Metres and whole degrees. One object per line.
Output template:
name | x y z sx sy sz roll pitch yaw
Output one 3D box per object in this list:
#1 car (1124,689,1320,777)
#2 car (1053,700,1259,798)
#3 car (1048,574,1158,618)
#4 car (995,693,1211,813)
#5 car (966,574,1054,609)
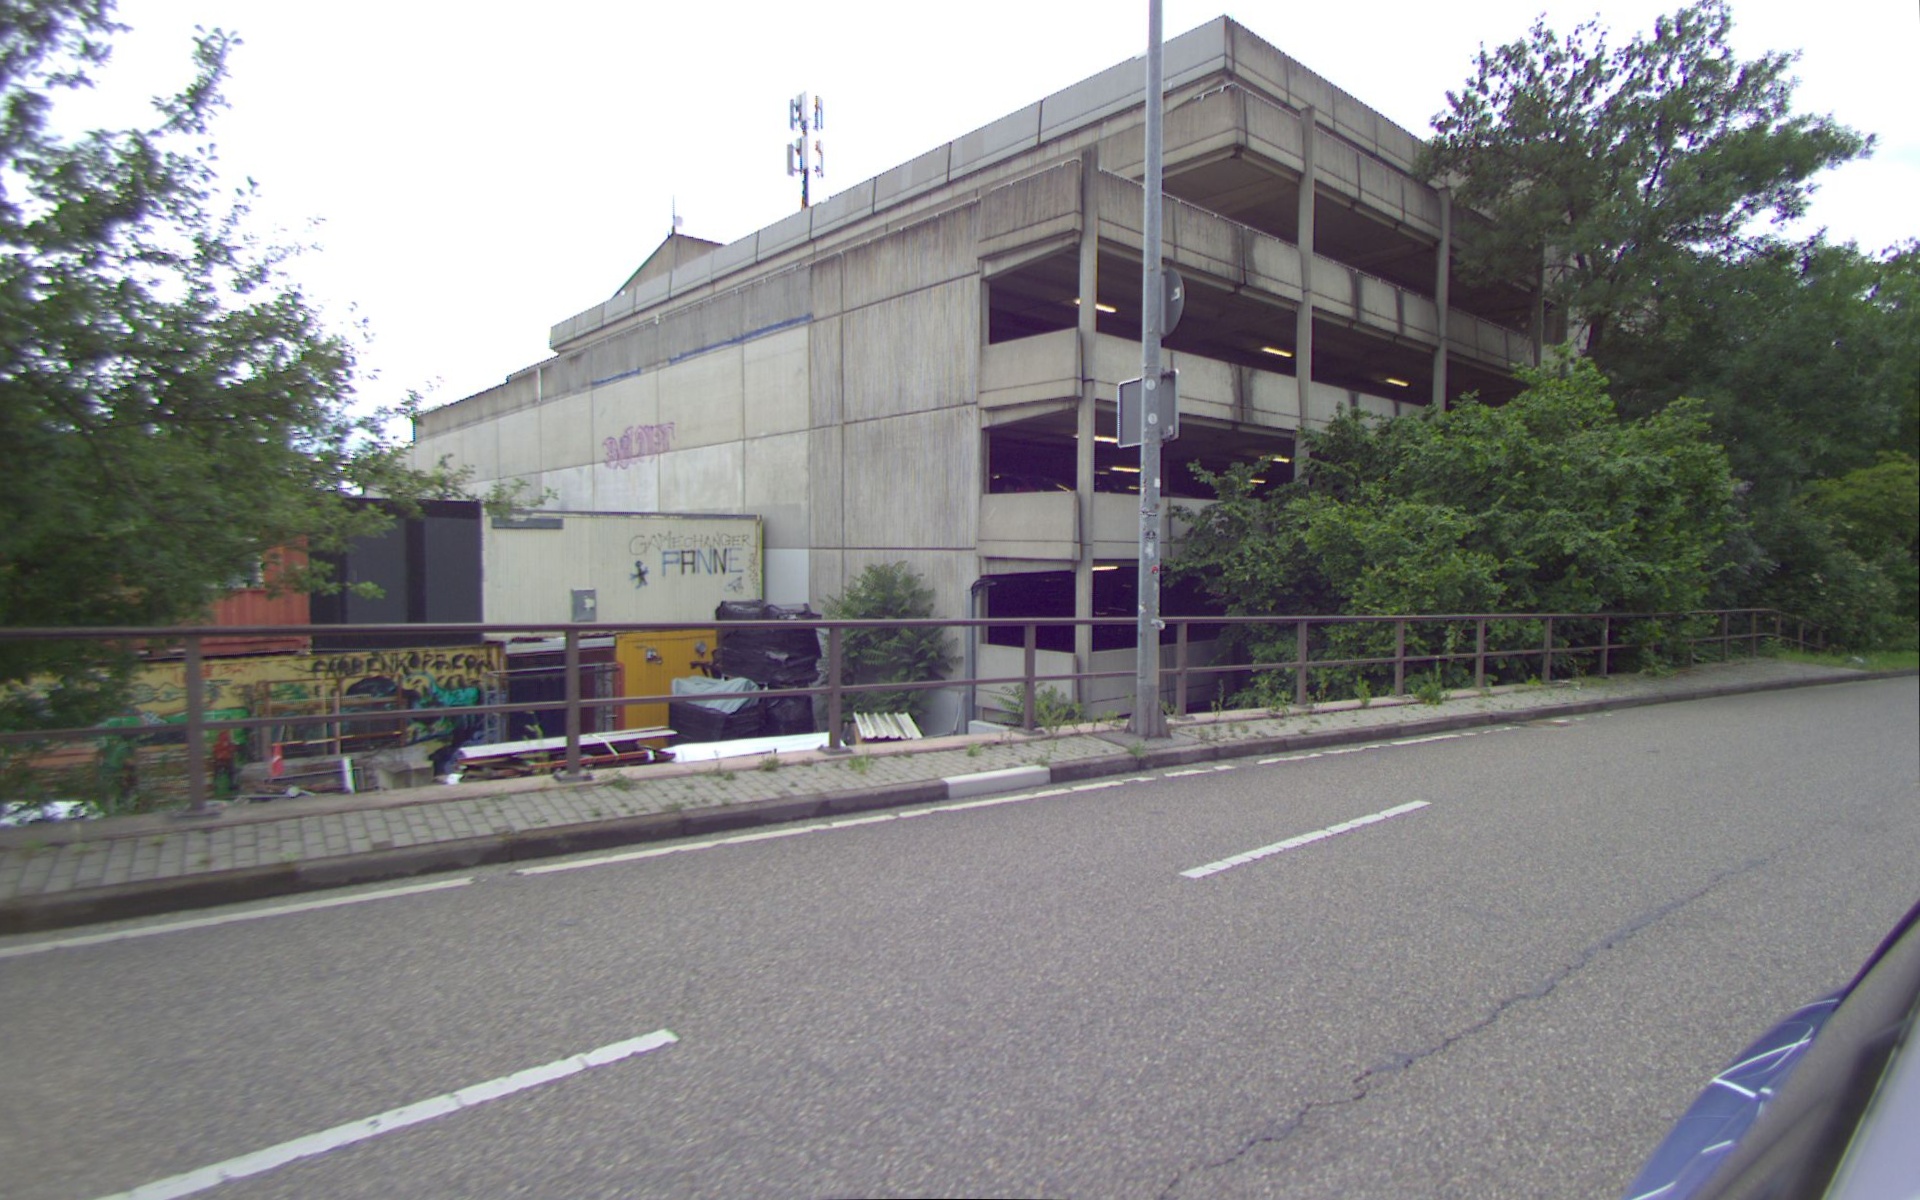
car | 6.750 3.366 26.454 1.967 1.447 4.658 -4 4 -42
car | 4.620 3.488 24.449 1.967 1.447 4.658 -4 4 -42
car | 5.523 -0.197 39.419 1.845 1.497 3.993 -4 5 -42
car | 3.147 3.338 23.059 1.967 1.806 4.751 -2 3 -42
car | 2.166 -0.375 44.197 1.690 1.438 3.672 0 1 -44
